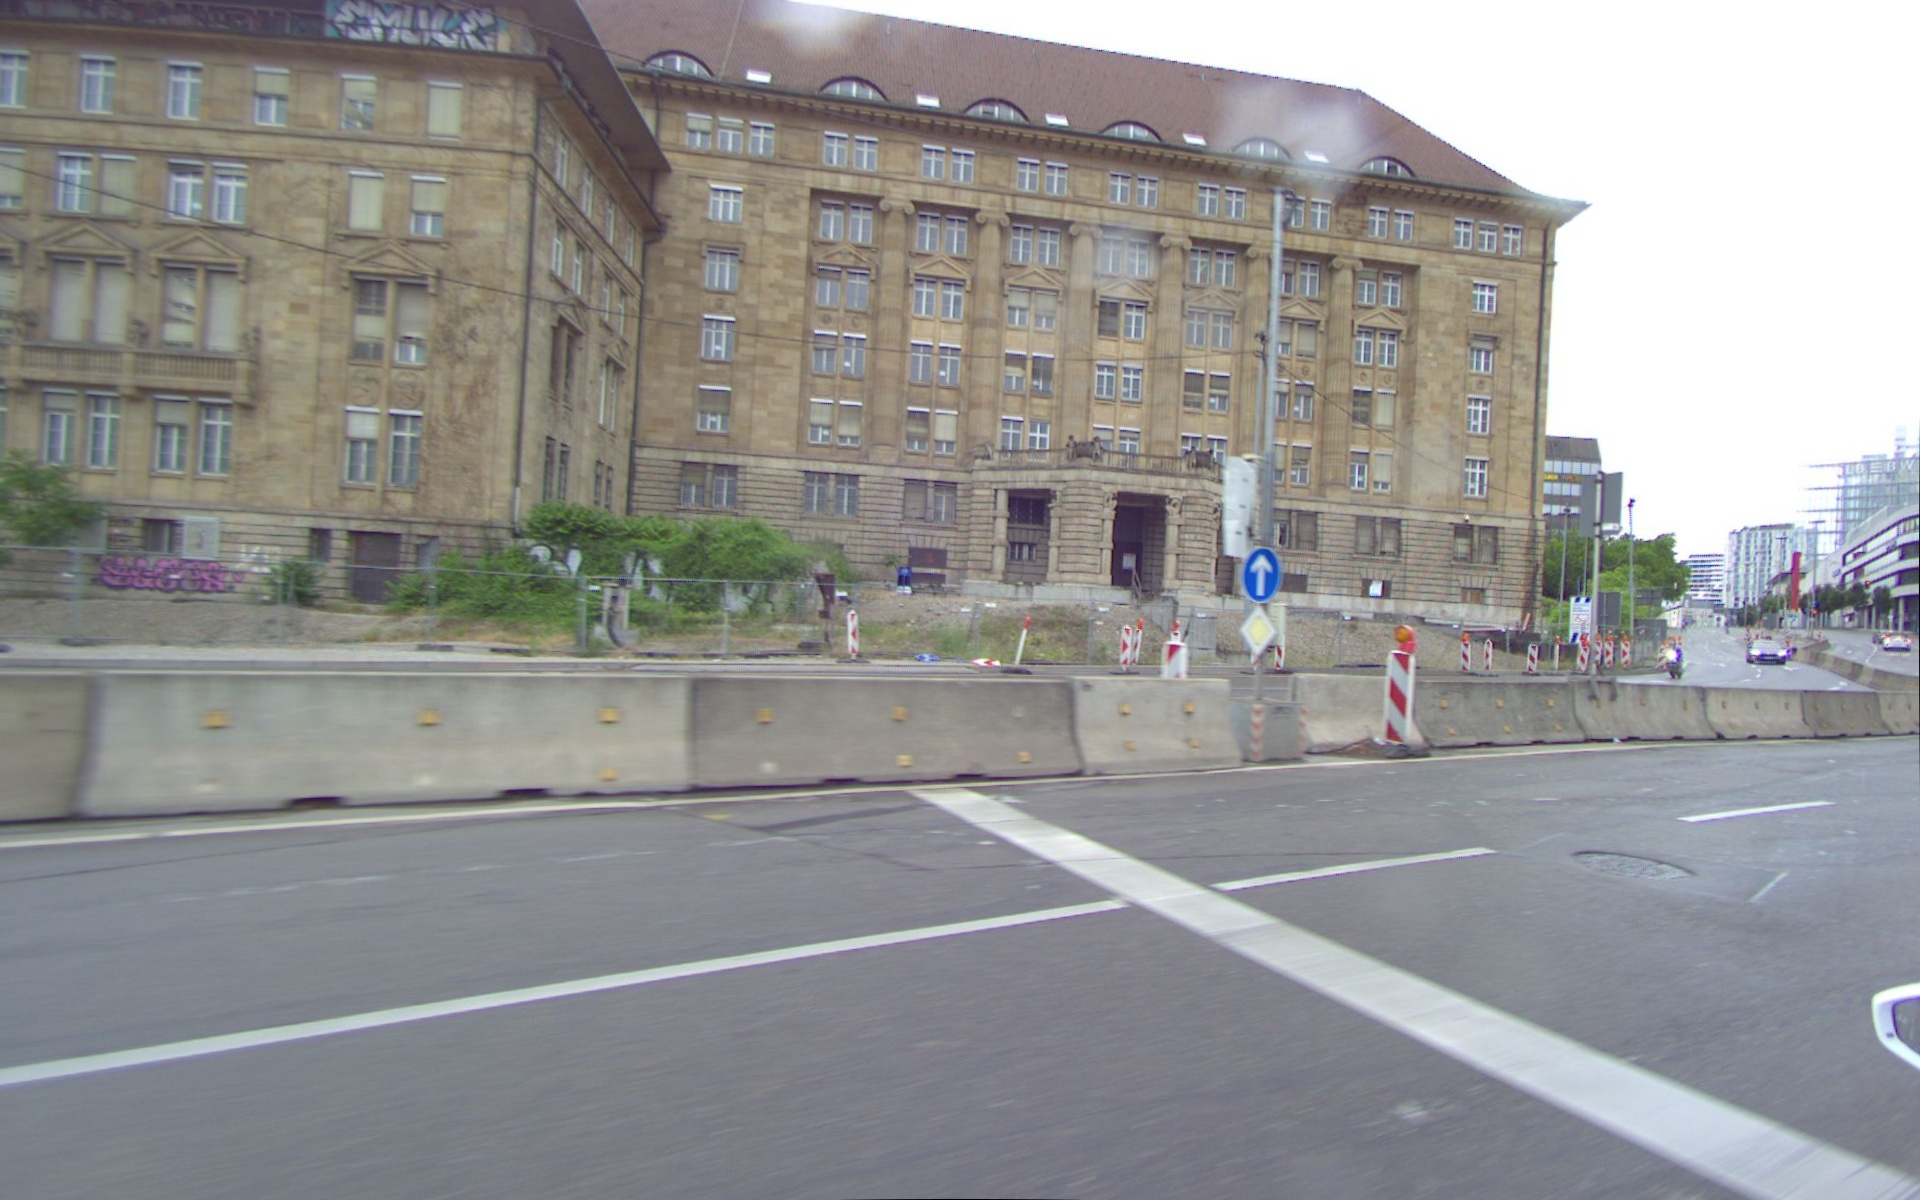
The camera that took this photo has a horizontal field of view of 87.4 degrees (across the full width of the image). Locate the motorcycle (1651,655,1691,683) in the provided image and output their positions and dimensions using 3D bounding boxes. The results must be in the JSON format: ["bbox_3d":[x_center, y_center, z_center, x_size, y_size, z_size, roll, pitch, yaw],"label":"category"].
[{"bbox_3d":[31.464,3.052,44.465,2.136,1.163,0.862,4,-1,-39],"label":"motorcycle"}]

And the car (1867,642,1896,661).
[{"bbox_3d":[96.459,5.411,105.148,1.973,1.828,4.239,2,-1,45],"label":"car"}]

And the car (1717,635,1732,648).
[{"bbox_3d":[103.779,5.637,136.363,1.581,1.369,3.741,3,-3,38],"label":"car"}]

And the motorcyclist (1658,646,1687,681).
[{"bbox_3d":[31.535,2.823,44.467,0.818,1.470,0.792,4,-1,-38],"label":"motorcyclist"}]

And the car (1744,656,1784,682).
[{"bbox_3d":[50.882,4.385,63.616,1.580,1.369,3.746,4,-3,34],"label":"car"}]

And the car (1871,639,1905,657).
[{"bbox_3d":[86.358,4.516,93.520,1.717,1.525,3.744,3,-1,34],"label":"car"}]
